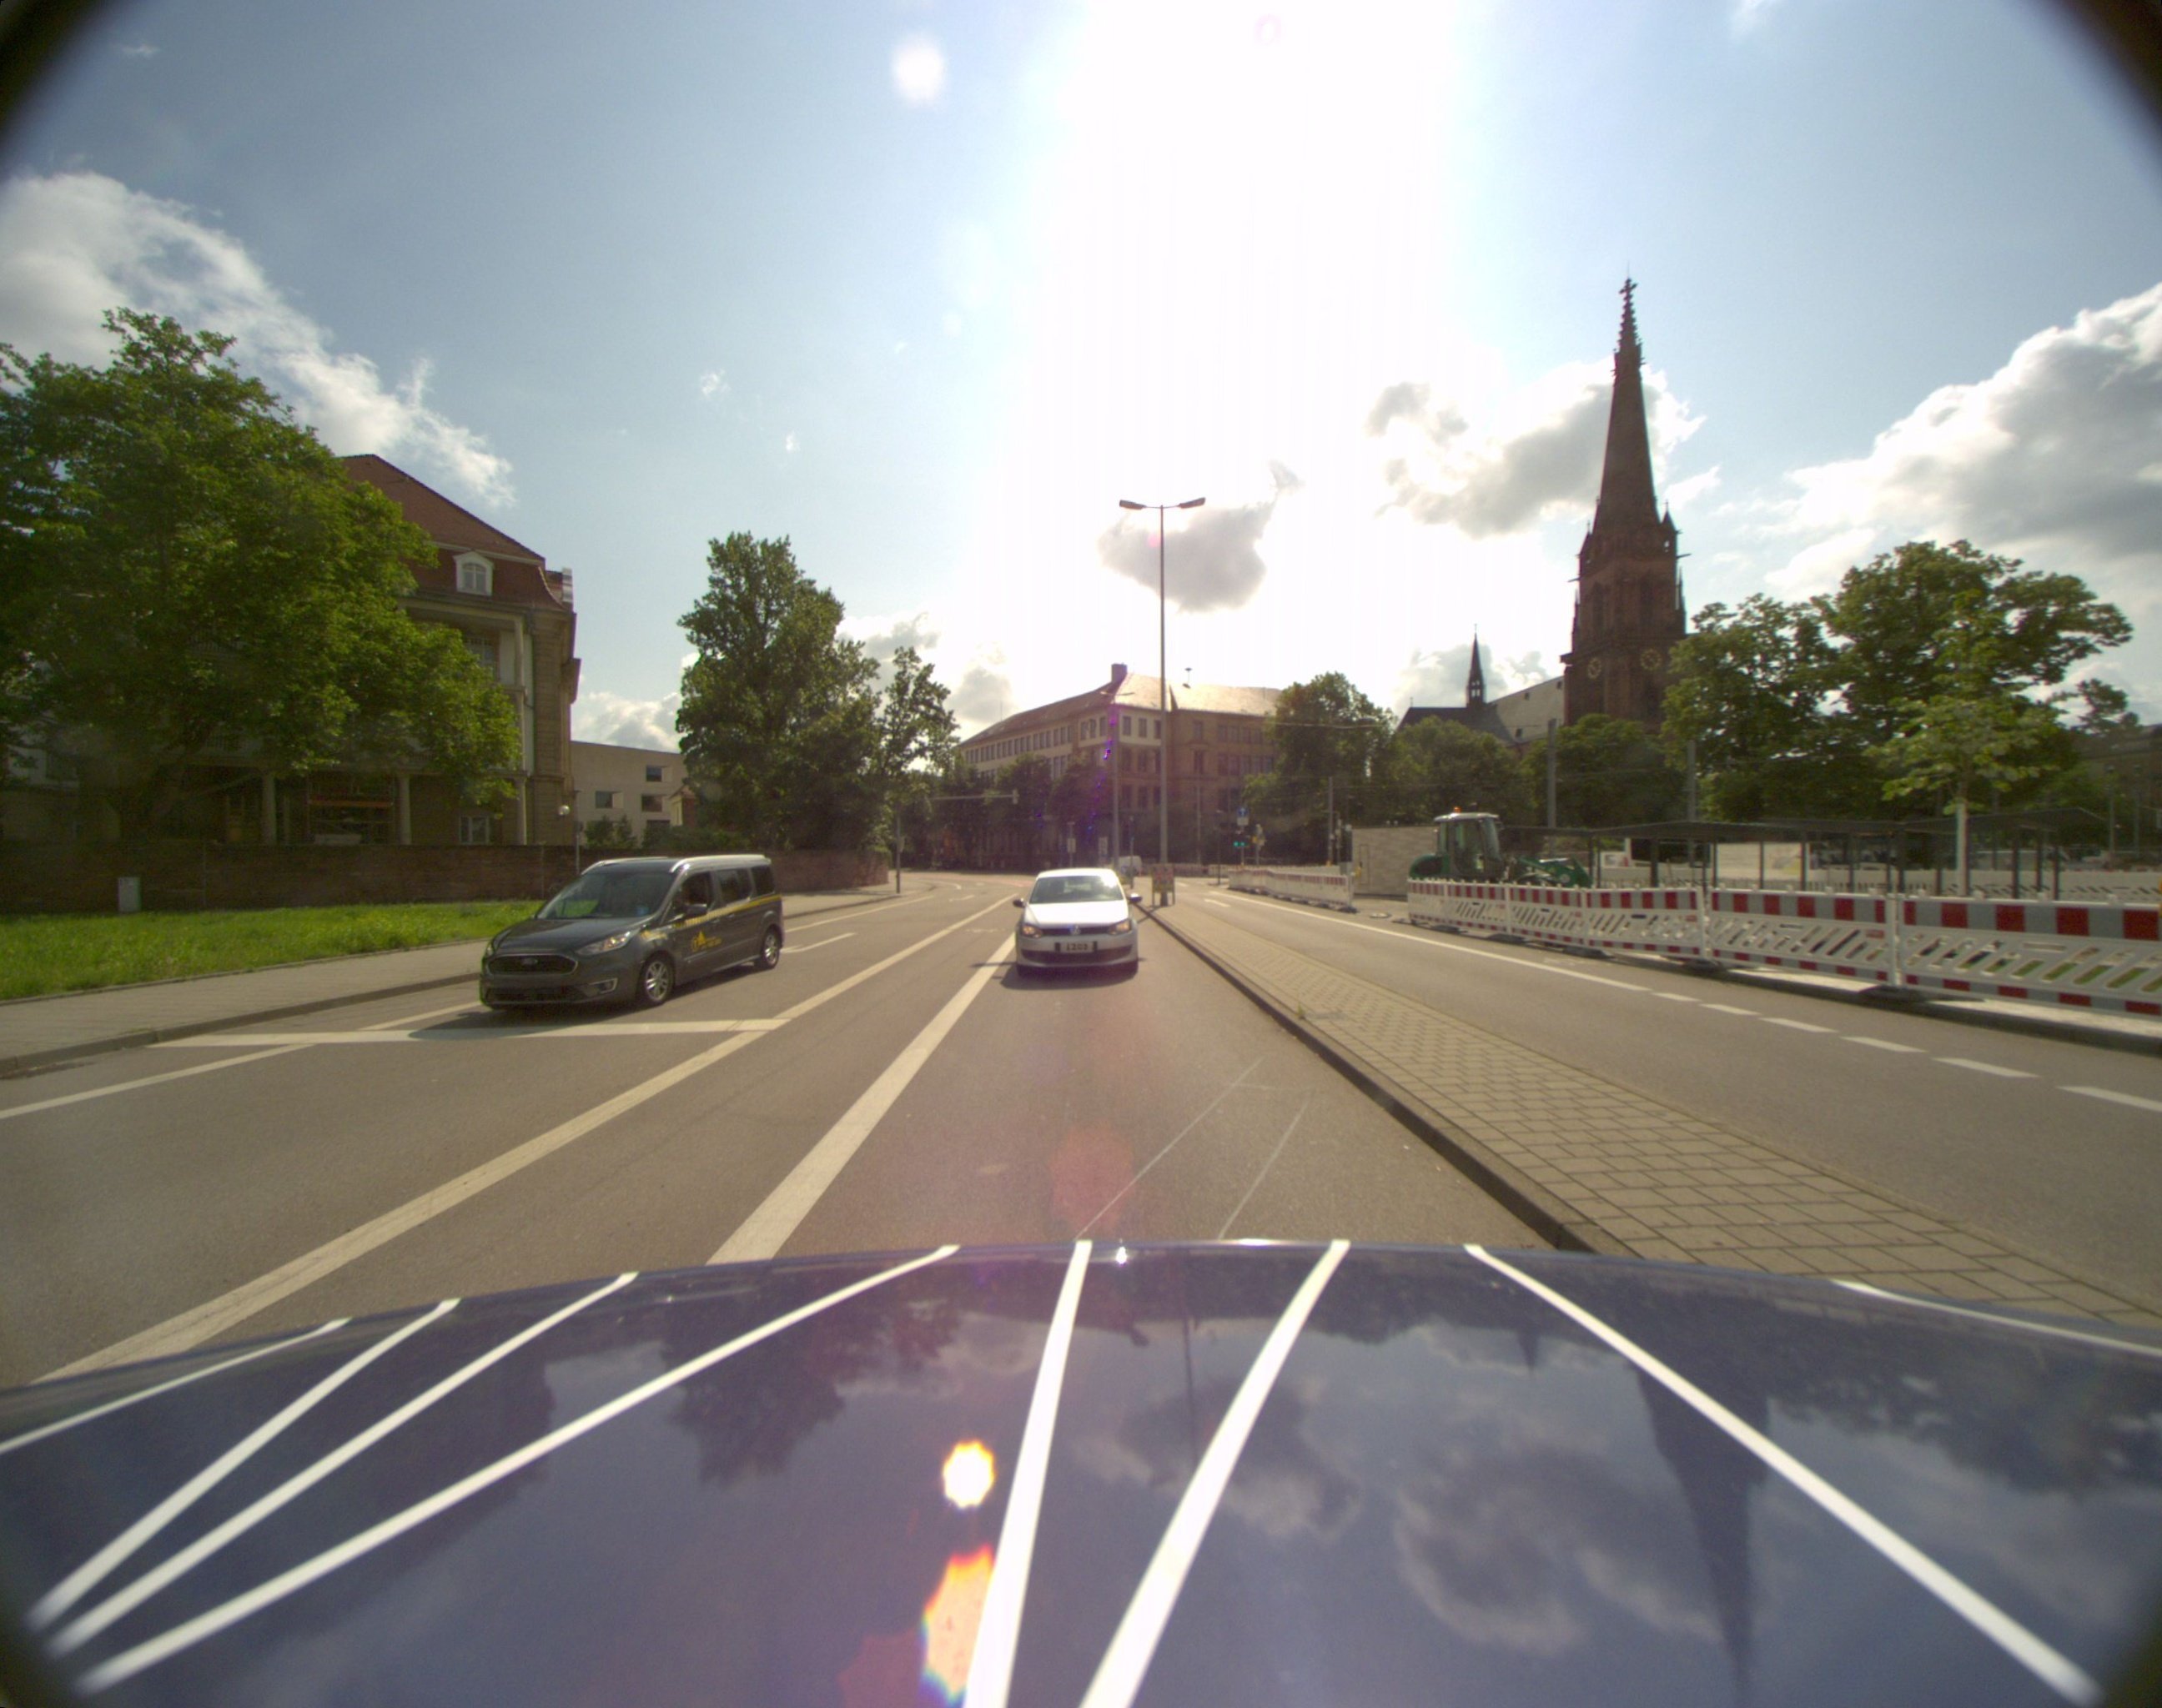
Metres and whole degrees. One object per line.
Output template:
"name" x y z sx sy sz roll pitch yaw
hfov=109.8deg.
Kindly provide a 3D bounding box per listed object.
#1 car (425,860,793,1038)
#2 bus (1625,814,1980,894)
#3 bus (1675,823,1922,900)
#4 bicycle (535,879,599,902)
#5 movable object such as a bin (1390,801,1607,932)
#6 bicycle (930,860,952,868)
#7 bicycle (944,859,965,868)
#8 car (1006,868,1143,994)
"car" -5.777 1.011 10.198 1.853 1.774 4.672 -2 0 2
"bus" 33.815 0.034 36.615 2.999 3.243 12.044 0 0 -35
"bus" 31.837 0.308 34.132 2.378 3.040 7.743 0 0 -35
"bicycle" -21.316 1.490 31.518 0.856 0.856 2.065 3 2 44
"movable object such as a bin" 10.484 0.287 19.333 2.004 2.932 4.438 0 0 -43
"bicycle" -20.854 1.475 113.208 2.891 1.200 1.073 0 3 7
"bicycle" -18.513 1.391 111.035 2.891 1.200 1.050 0 3 7
"car" -0.096 0.994 11.501 1.655 1.433 4.005 -2 0 0
